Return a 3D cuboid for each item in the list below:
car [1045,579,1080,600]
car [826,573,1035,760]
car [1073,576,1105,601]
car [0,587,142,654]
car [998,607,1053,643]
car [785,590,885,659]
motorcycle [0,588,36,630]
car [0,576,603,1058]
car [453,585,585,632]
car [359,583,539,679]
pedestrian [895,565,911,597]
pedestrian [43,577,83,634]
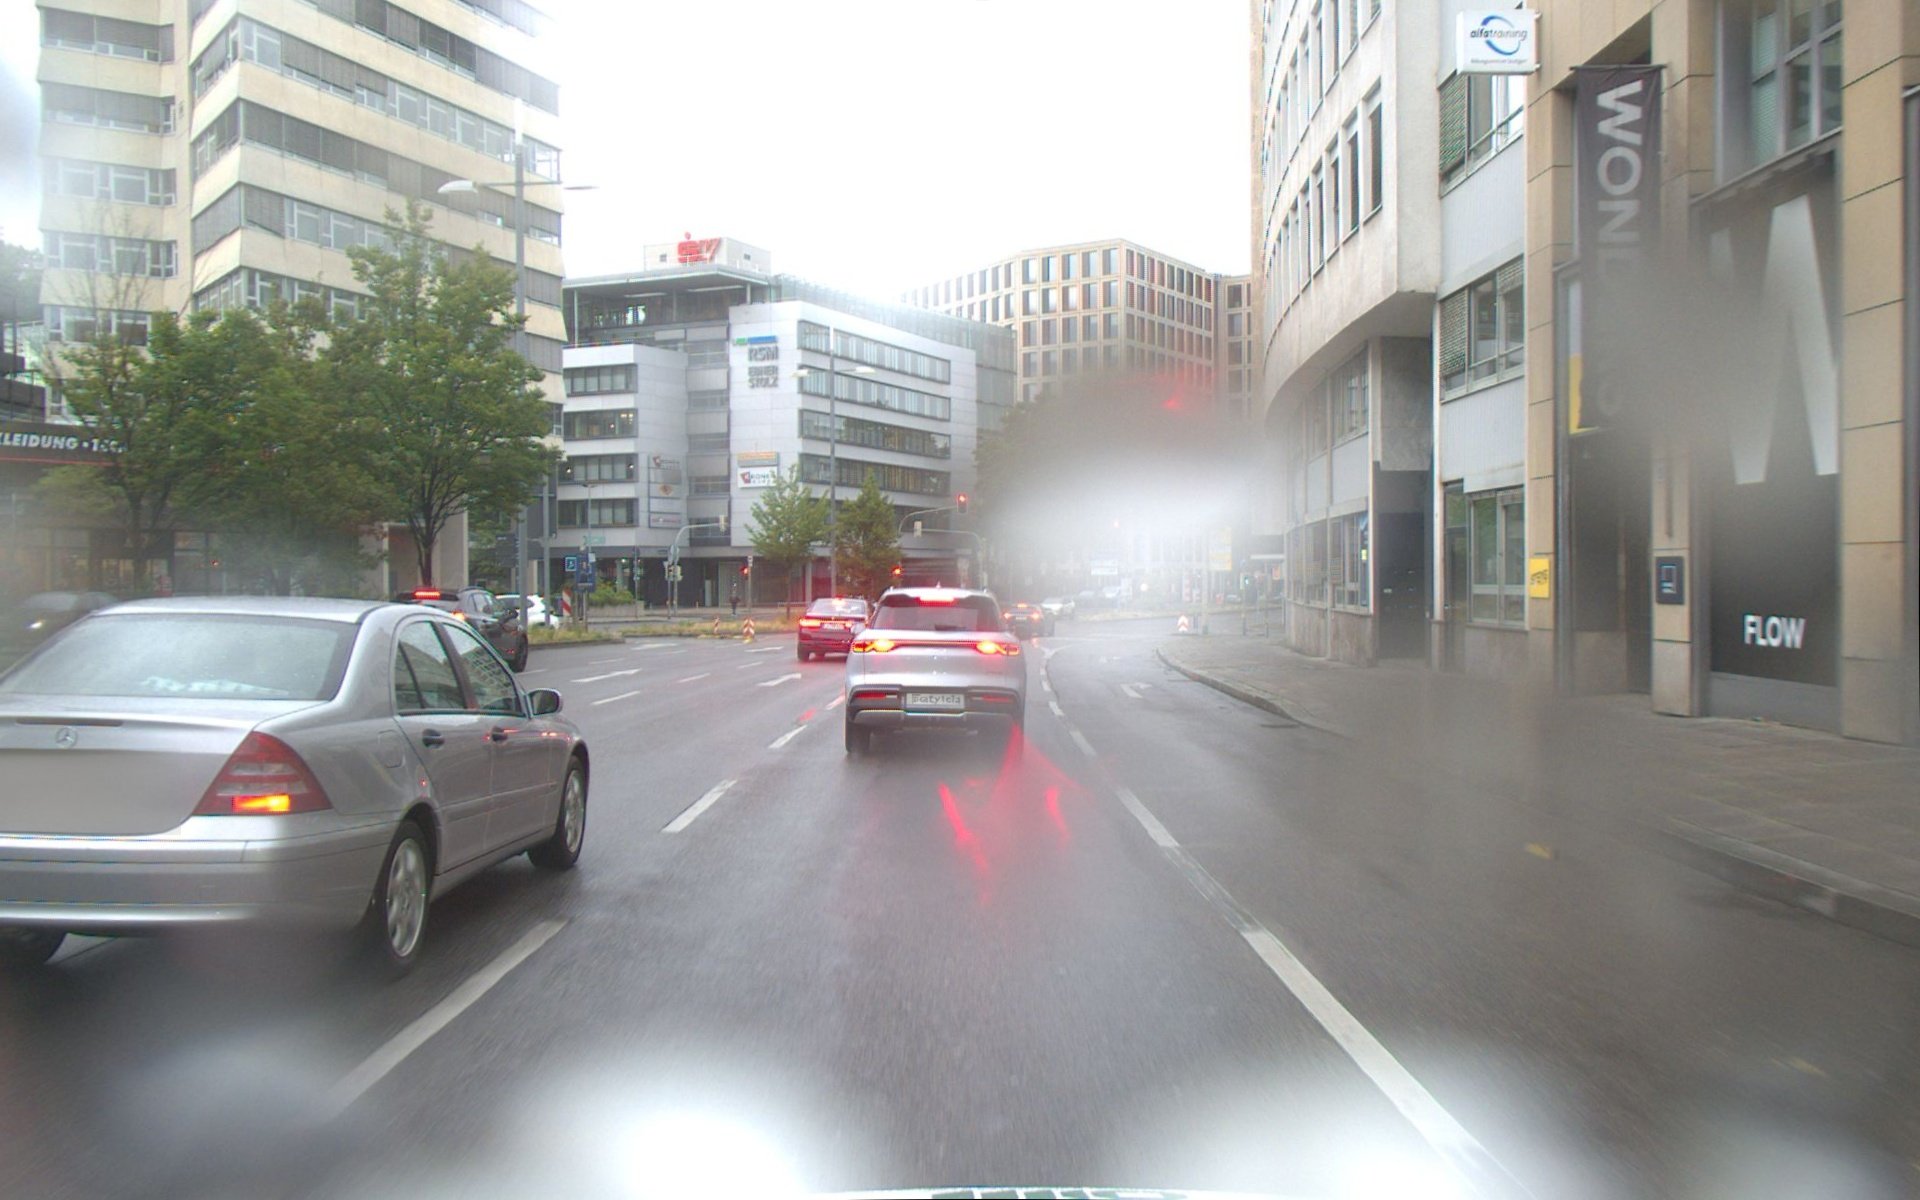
[{"bbox_3d":[8.957,-0.930,144.519,1.702,1.758,4.493,1,0,22],"label":"car"},{"bbox_3d":[-0.257,0.612,17.708,1.952,1.739,4.483,0,0,0],"label":"car"},{"bbox_3d":[12.018,-1.061,154.210,1.702,2.199,4.493,1,0,22],"label":"car"},{"bbox_3d":[-21.238,0.454,39.202,1.773,1.502,4.298,0,0,-4],"label":"car"},{"bbox_3d":[3.071,1.143,76.955,1.913,1.557,4.003,1,0,12],"label":"car"},{"bbox_3d":[-2.986,0.558,40.205,1.914,1.557,4.002,1,0,3],"label":"car"},{"bbox_3d":[-32.491,0.290,56.212,2.835,1.398,0.801,1,-1,36],"label":"motorcycle"},{"bbox_3d":[-2.870,0.672,7.300,1.647,1.512,4.196,0,0,0],"label":"car"},{"bbox_3d":[-14.216,0.268,53.327,4.010,1.456,1.678,0,0,-20],"label":"car"},{"bbox_3d":[-8.945,0.499,29.366,1.953,1.571,4.481,0,0,-2],"label":"car"},{"bbox_3d":[-3.156,-1.048,91.455,0.903,1.768,0.729,0,0,-1],"label":"pedestrian"},{"bbox_3d":[-29.700,0.170,54.780,0.712,1.864,0.925,0,-1,19],"label":"pedestrian"}]
